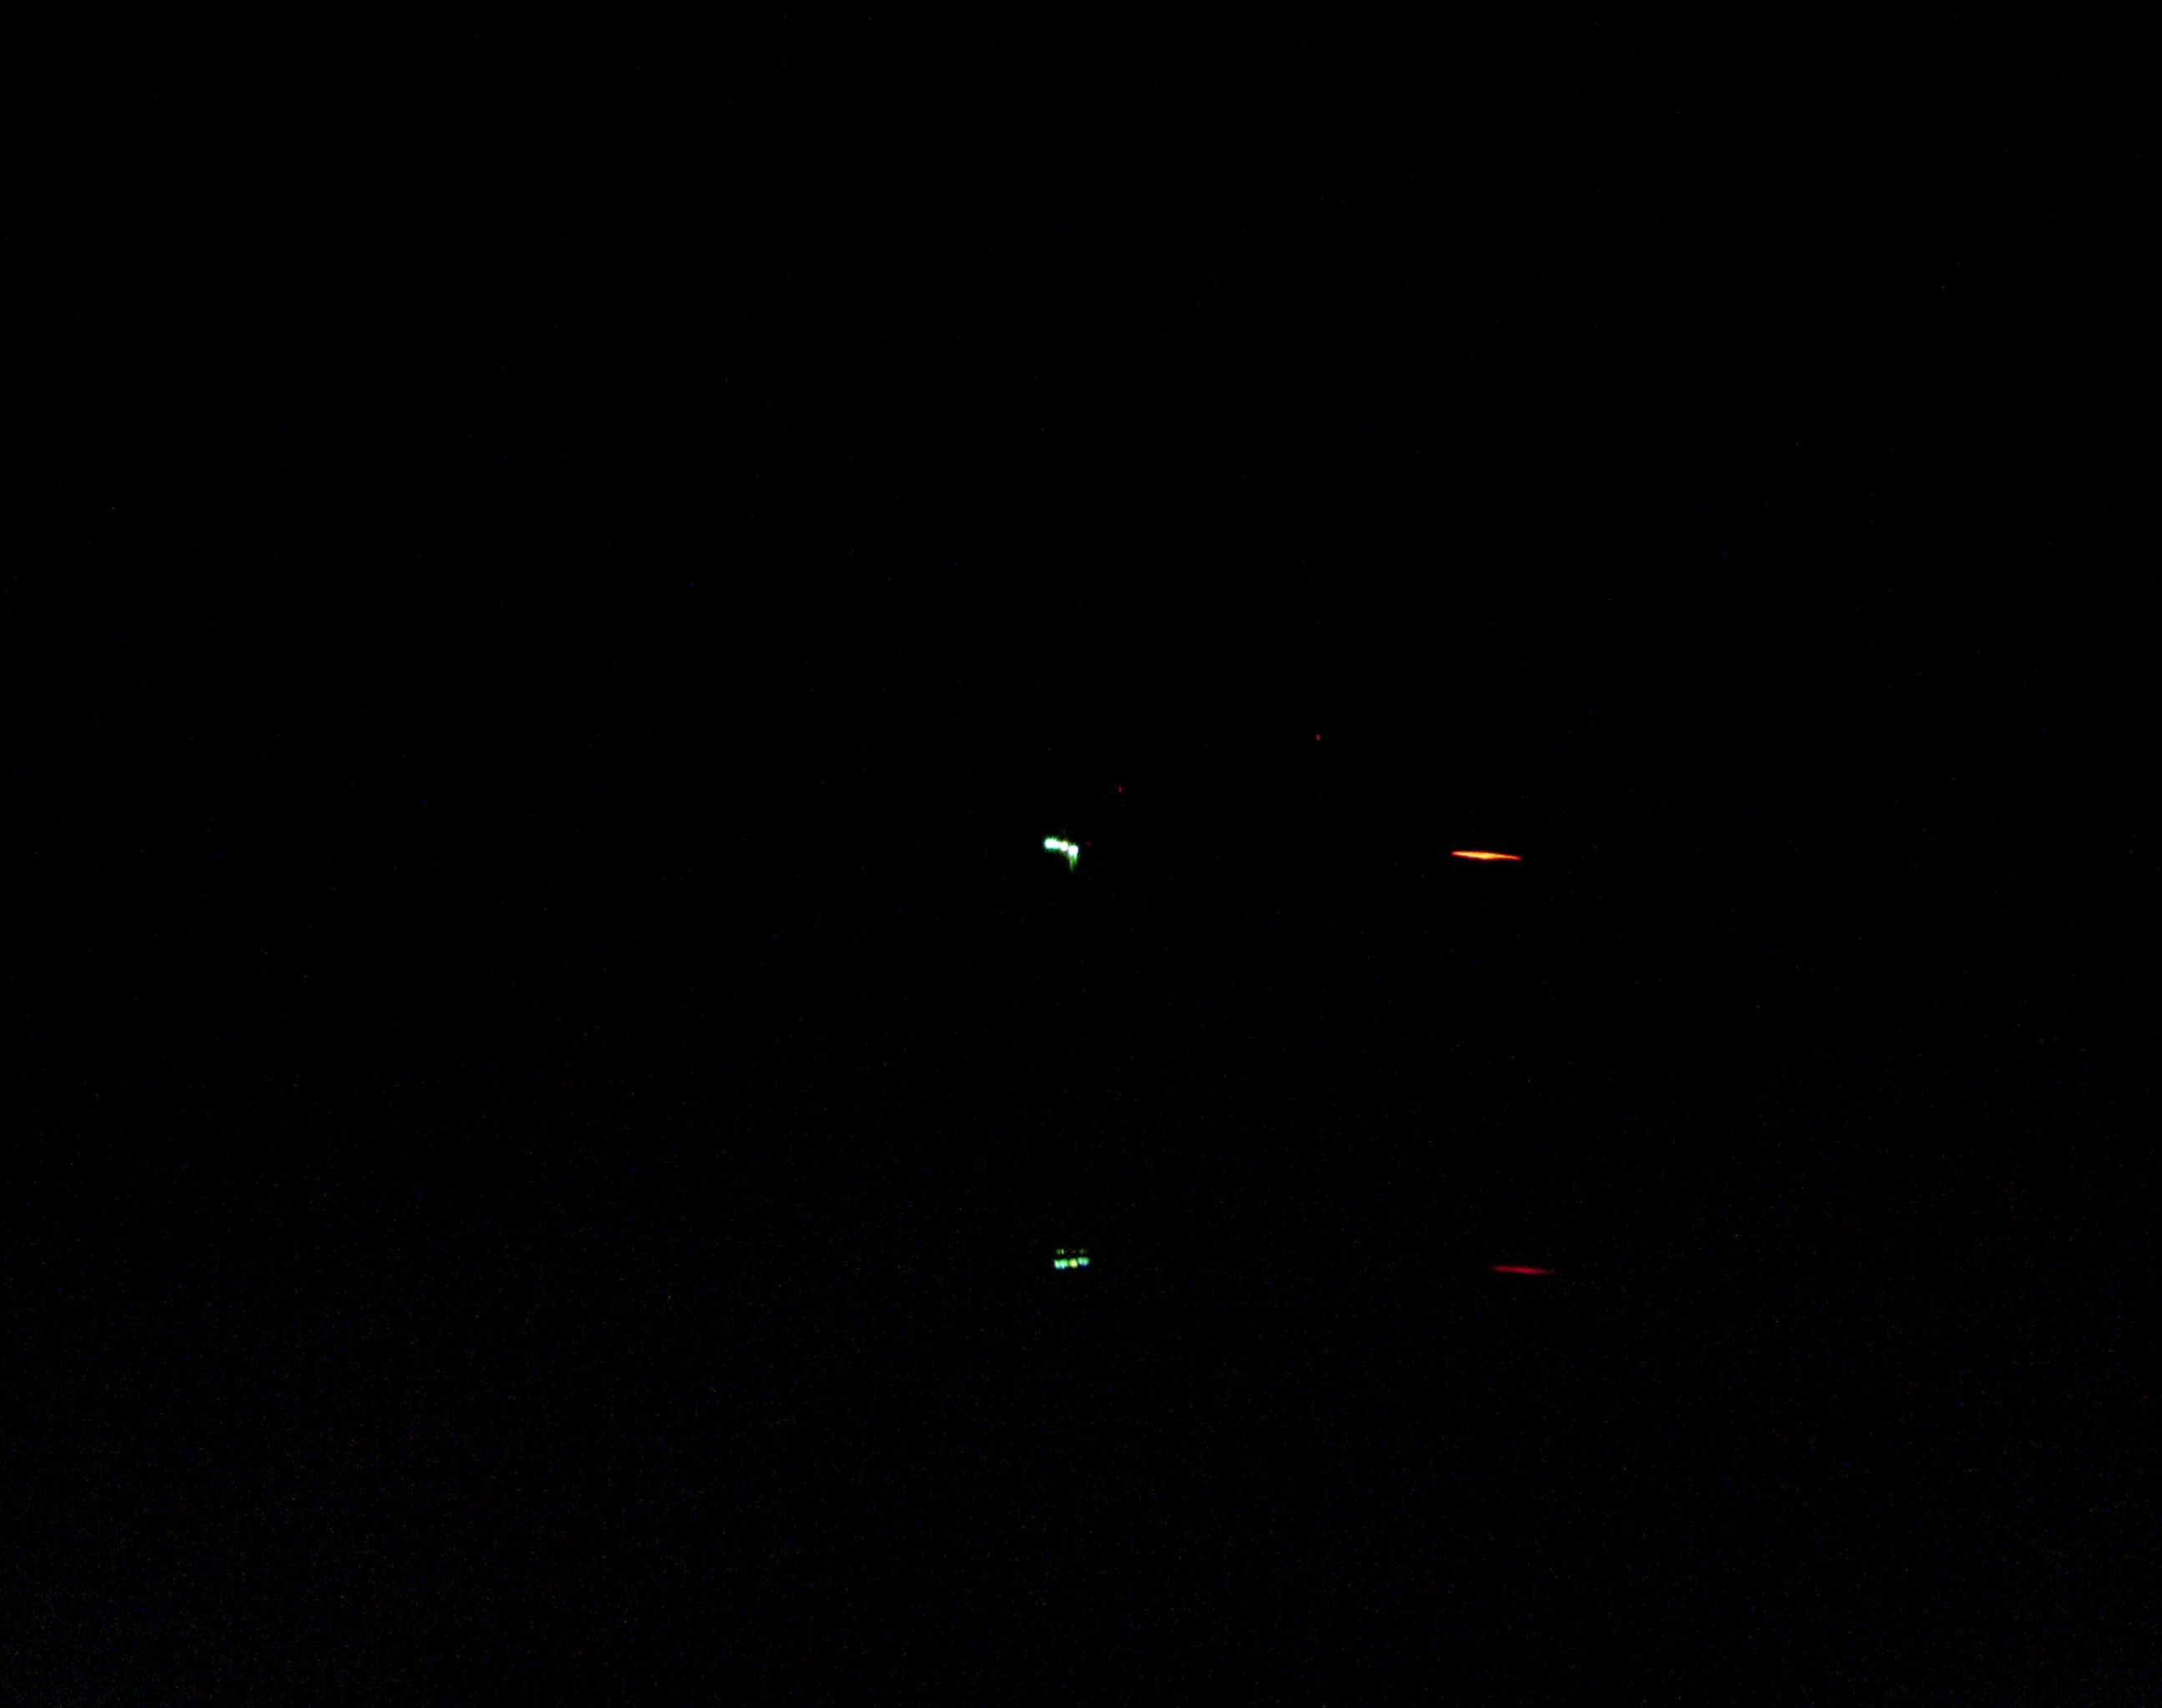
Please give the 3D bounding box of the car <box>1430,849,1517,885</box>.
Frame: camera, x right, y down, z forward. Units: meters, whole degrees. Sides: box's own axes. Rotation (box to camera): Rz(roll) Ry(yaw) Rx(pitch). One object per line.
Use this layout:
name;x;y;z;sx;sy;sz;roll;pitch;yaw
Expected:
car;20.277;0.635;39.522;1.998;1.735;5.072;-1;0;1
